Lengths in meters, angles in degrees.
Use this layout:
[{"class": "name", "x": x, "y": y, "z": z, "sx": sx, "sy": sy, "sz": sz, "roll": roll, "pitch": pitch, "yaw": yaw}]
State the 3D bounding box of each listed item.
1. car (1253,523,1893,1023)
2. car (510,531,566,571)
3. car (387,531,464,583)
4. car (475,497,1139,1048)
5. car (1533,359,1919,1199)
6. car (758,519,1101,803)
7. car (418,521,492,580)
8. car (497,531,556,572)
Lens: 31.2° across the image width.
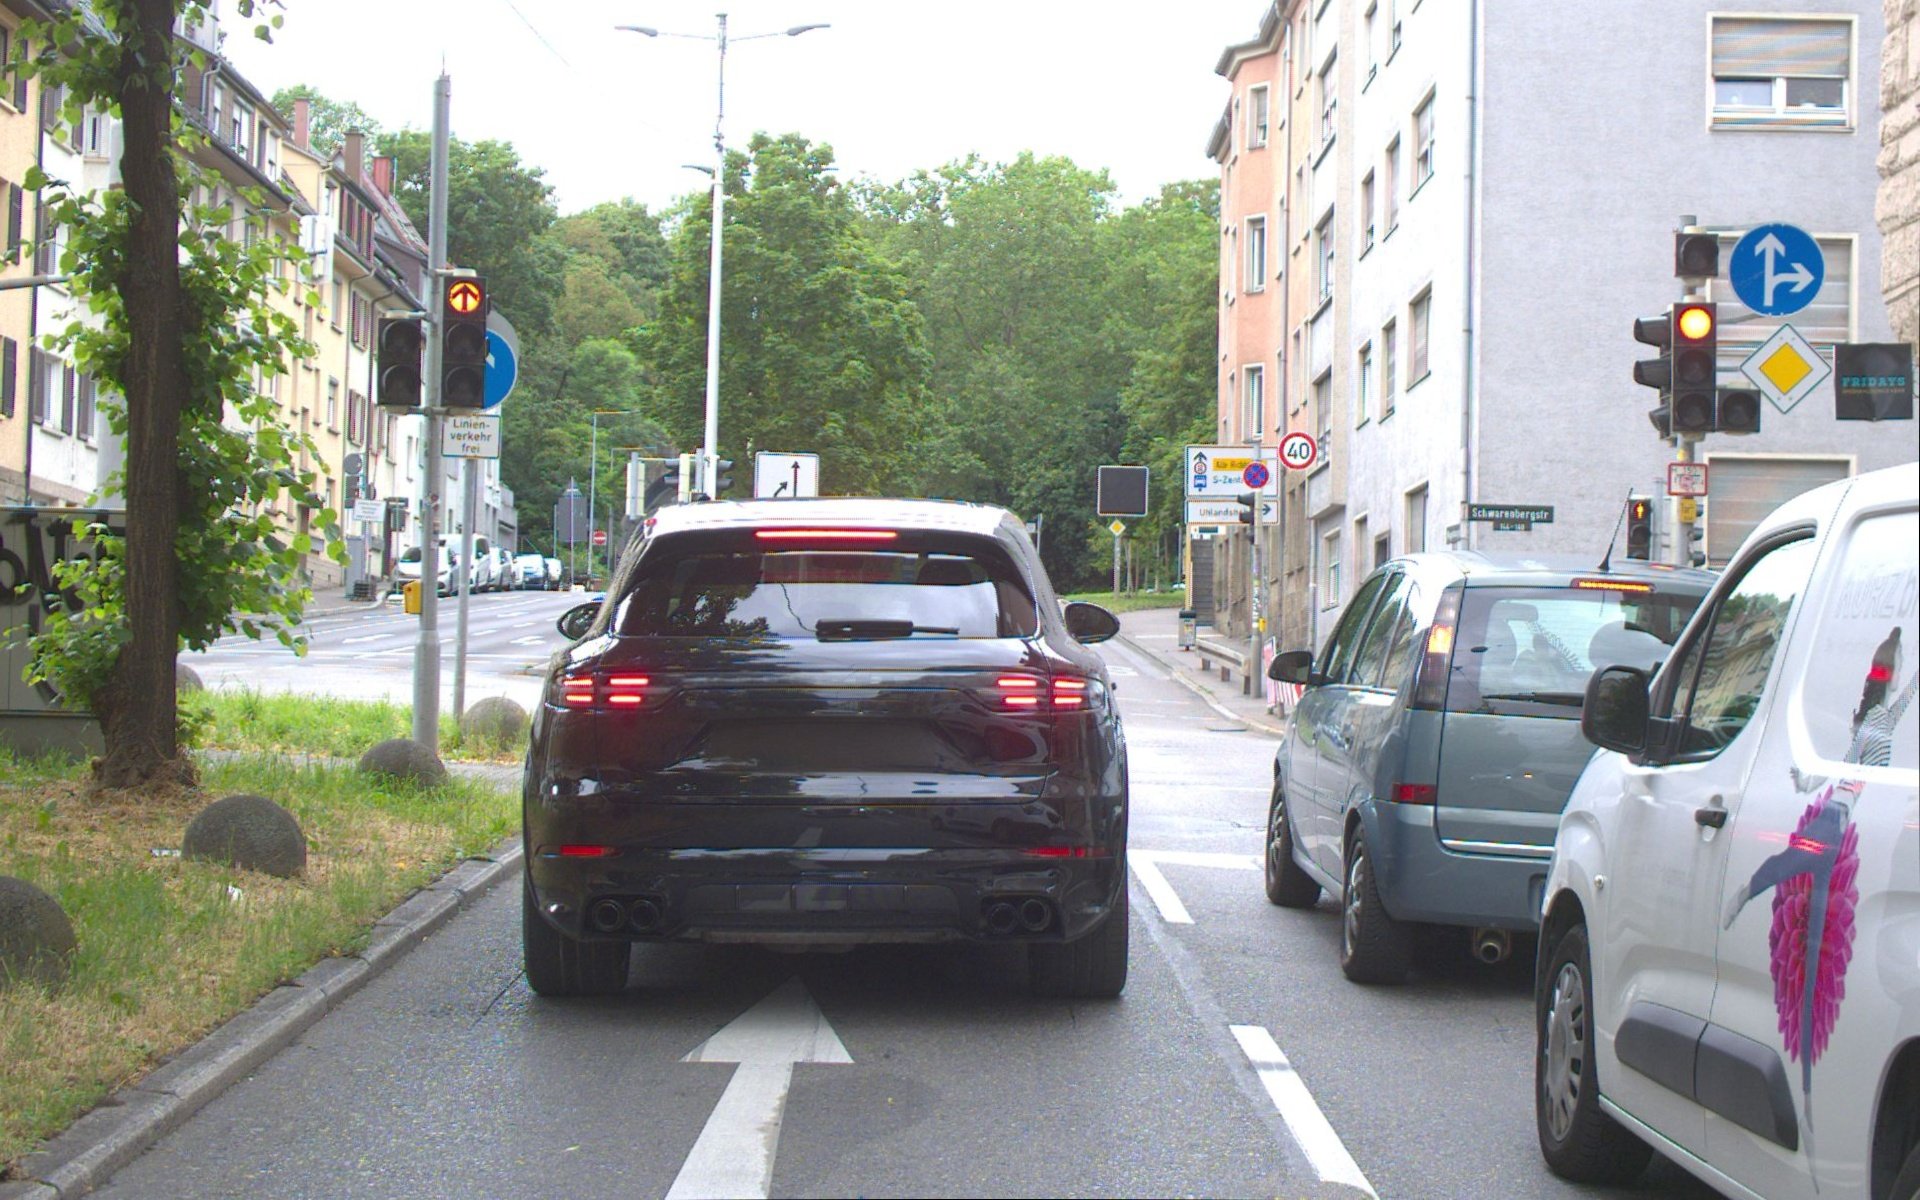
[{"class": "car", "x": 2.242, "y": 0.570, "z": 13.518, "sx": 1.752, "sy": 1.588, "sz": 3.630, "roll": 4, "pitch": 1, "yaw": 0}, {"class": "car", "x": -16.610, "y": -1.924, "z": 135.417, "sx": 1.794, "sy": 1.505, "sz": 4.000, "roll": 1, "pitch": 1, "yaw": -1}, {"class": "car", "x": -16.165, "y": -1.316, "z": 104.113, "sx": 1.794, "sy": 1.505, "sz": 4.000, "roll": 1, "pitch": 1, "yaw": -1}, {"class": "car", "x": -0.440, "y": 0.470, "z": 12.387, "sx": 1.994, "sy": 1.647, "sz": 4.000, "roll": 1, "pitch": 1, "yaw": 1}, {"class": "car", "x": 2.412, "y": 0.627, "z": 7.159, "sx": 1.850, "sy": 1.819, "sz": 5.020, "roll": 2, "pitch": 0, "yaw": 4}, {"class": "car", "x": -0.156, "y": 0.343, "z": 22.181, "sx": 1.994, "sy": 1.647, "sz": 4.000, "roll": 1, "pitch": 0, "yaw": 1}, {"class": "car", "x": -16.003, "y": -1.578, "z": 109.136, "sx": 1.794, "sy": 1.804, "sz": 4.000, "roll": 1, "pitch": 1, "yaw": -1}, {"class": "car", "x": -16.428, "y": -1.853, "z": 130.518, "sx": 1.794, "sy": 1.505, "sz": 4.000, "roll": 1, "pitch": 1, "yaw": -1}]
